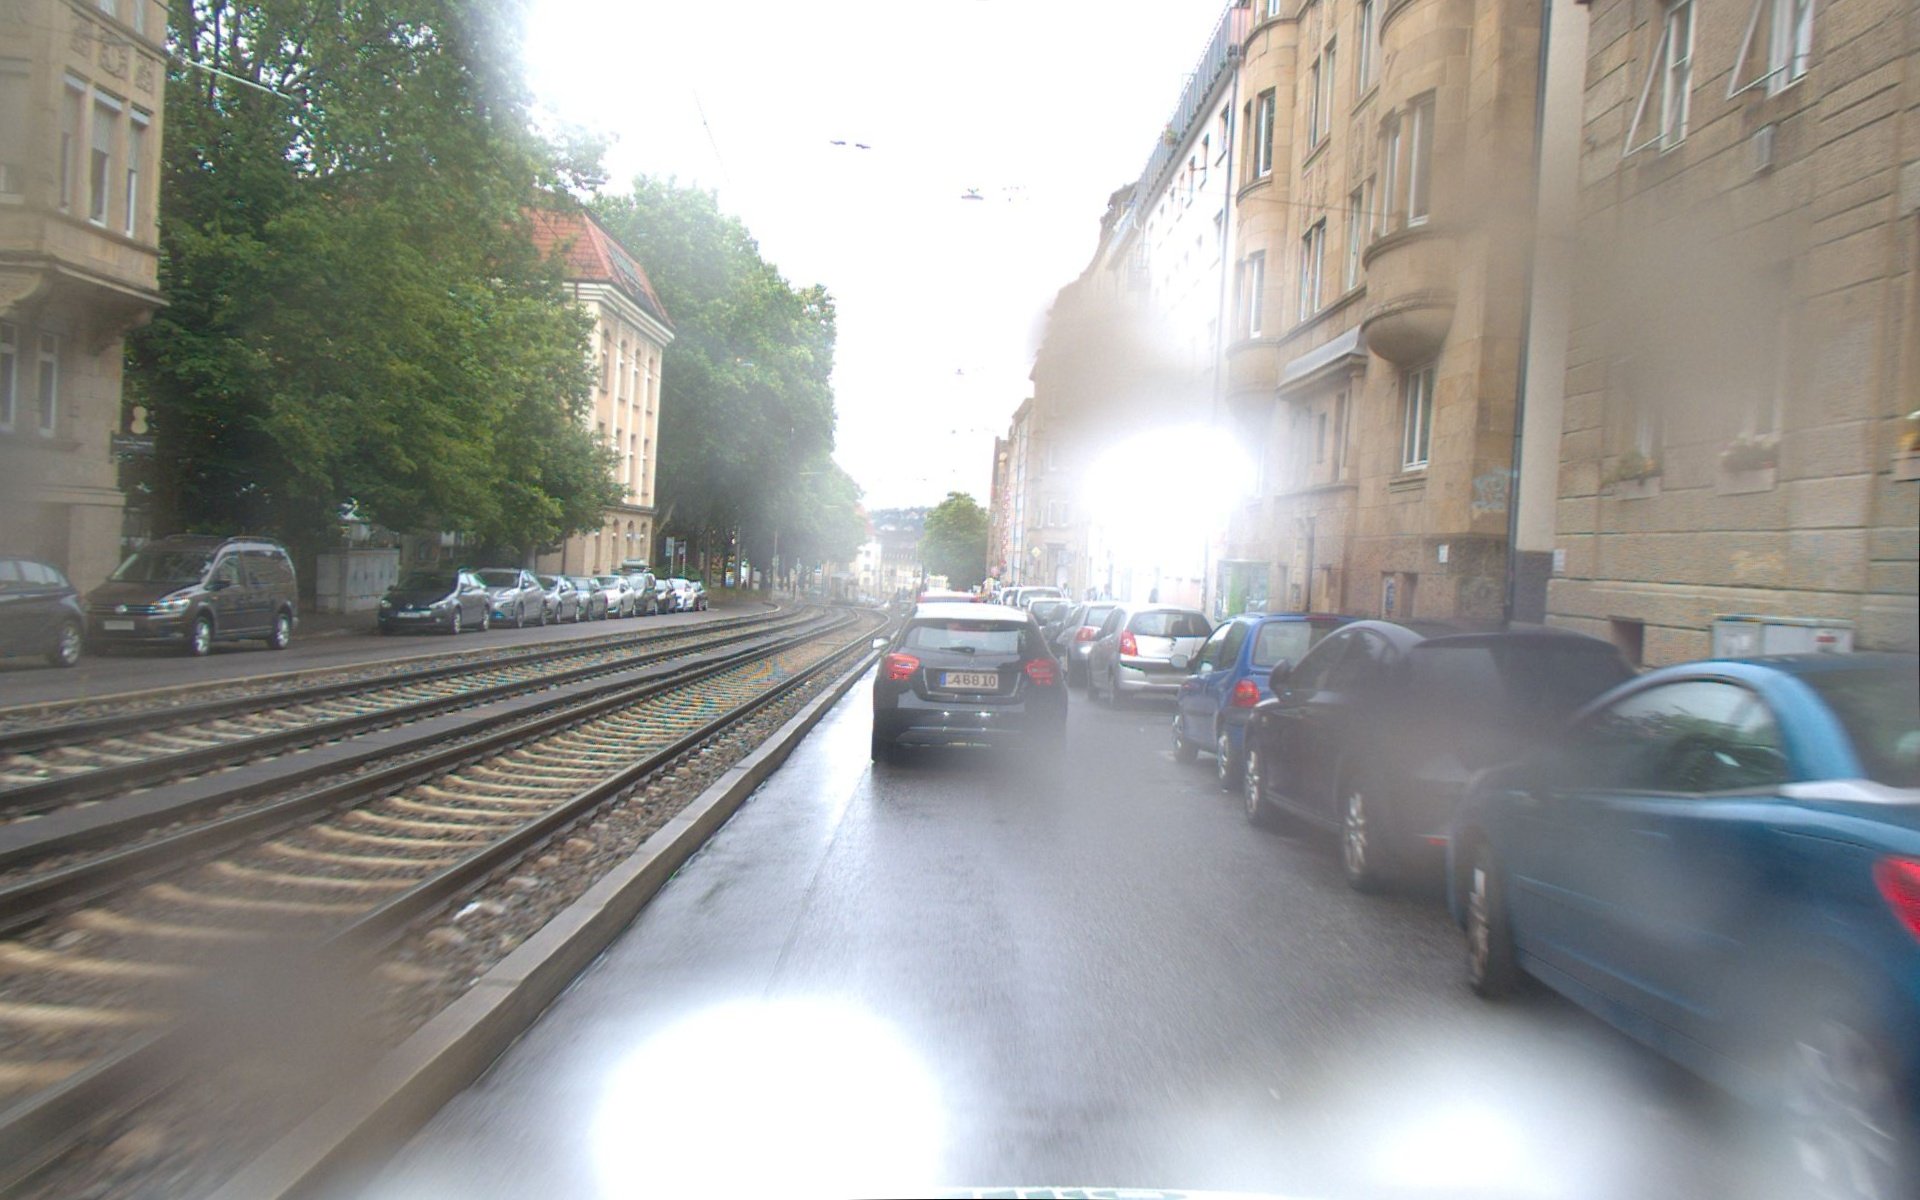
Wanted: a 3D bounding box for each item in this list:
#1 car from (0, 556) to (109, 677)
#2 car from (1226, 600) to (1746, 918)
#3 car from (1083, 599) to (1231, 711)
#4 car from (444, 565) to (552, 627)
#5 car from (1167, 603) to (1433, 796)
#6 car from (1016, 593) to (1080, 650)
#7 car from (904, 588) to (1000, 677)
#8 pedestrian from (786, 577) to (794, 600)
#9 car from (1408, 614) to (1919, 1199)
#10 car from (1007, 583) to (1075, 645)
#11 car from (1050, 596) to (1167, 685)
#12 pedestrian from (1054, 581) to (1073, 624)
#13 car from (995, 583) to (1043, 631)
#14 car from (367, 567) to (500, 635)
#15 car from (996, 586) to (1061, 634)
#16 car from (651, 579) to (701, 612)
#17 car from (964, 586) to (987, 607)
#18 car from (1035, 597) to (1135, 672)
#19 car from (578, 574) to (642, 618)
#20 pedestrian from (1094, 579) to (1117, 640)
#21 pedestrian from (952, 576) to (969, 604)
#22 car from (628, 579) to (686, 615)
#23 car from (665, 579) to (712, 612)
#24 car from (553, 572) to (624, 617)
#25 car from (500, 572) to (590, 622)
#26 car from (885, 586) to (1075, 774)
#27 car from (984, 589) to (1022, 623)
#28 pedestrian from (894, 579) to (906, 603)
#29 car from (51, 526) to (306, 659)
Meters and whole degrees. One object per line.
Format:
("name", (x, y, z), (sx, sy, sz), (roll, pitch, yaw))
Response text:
("car", (-12.141, 0.177, 19.843), (1.727, 1.422, 4.268), (1, 0, -2))
("car", (2.925, 0.787, 10.180), (1.751, 1.488, 4.082), (2, 0, -2))
("car", (2.826, 0.752, 24.421), (1.558, 1.459, 3.682), (1, 0, -3))
("car", (-12.352, -0.111, 44.531), (1.718, 1.563, 4.542), (0, 0, -1))
("car", (2.886, 0.787, 14.701), (1.512, 1.439, 3.445), (2, 0, -2))
("car", (2.439, 0.567, 46.479), (1.538, 1.487, 3.599), (2, 0, 0))
("car", (-0.159, 0.595, 32.988), (1.749, 1.608, 4.000), (2, 0, 0))
("pedestrian", (-13.925, -0.930, 135.408), (0.523, 1.784, 0.607), (4, 0, 0))
("car", (2.902, 0.817, 5.345), (1.672, 1.422, 4.017), (2, 0, -2))
("car", (2.448, 0.400, 50.845), (1.754, 1.796, 4.211), (1, 0, -1))
("car", (2.610, 0.678, 29.886), (1.634, 1.459, 3.955), (1, 0, -2))
("pedestrian", (4.470, 0.097, 71.401), (0.730, 1.866, 1.039), (0, 0, 1))
("car", (2.294, 0.253, 65.238), (1.790, 1.781, 4.467), (2, 0, 1))
("car", (-12.257, 0.017, 38.805), (1.812, 1.489, 4.548), (0, 0, -2))
("car", (2.264, 0.303, 55.747), (1.833, 1.481, 4.901), (2, 1, -2))
("car", (-12.690, -0.202, 74.078), (1.469, 1.415, 3.987), (0, 0, 1))
("car", (1.218, -0.295, 132.904), (1.790, 1.646, 3.864), (1, 1, 0))
("car", (2.628, 0.692, 35.634), (1.636, 1.434, 4.310), (2, 0, -2))
("car", (-12.536, -0.160, 59.435), (1.508, 1.531, 4.153), (0, 0, -1))
("pedestrian", (4.314, 0.283, 49.167), (0.594, 1.794, 0.688), (0, 0, -1))
("pedestrian", (0.026, -0.715, 121.092), (1.115, 2.033, 1.171), (1, 0, -4))
("car", (-12.678, -0.145, 69.387), (1.640, 1.438, 4.010), (0, 0, 1))
("car", (-12.854, -0.220, 78.524), (1.581, 1.454, 3.852), (2, 1, -1))
("car", (-12.145, -0.189, 54.292), (1.508, 1.438, 3.952), (0, 0, -1))
("car", (-12.397, -0.093, 49.652), (1.718, 1.438, 4.152), (0, 0, -1))
("car", (0.143, 0.664, 15.751), (1.548, 1.531, 3.574), (2, 0, -1))
("car", (2.073, 0.285, 80.731), (1.659, 1.556, 4.000), (2, 0, 0))
("pedestrian", (-4.195, -0.648, 115.755), (0.789, 1.662, 0.892), (1, 0, 0))
("car", (-12.194, -0.121, 26.192), (1.764, 1.879, 4.818), (1, 0, -1))
